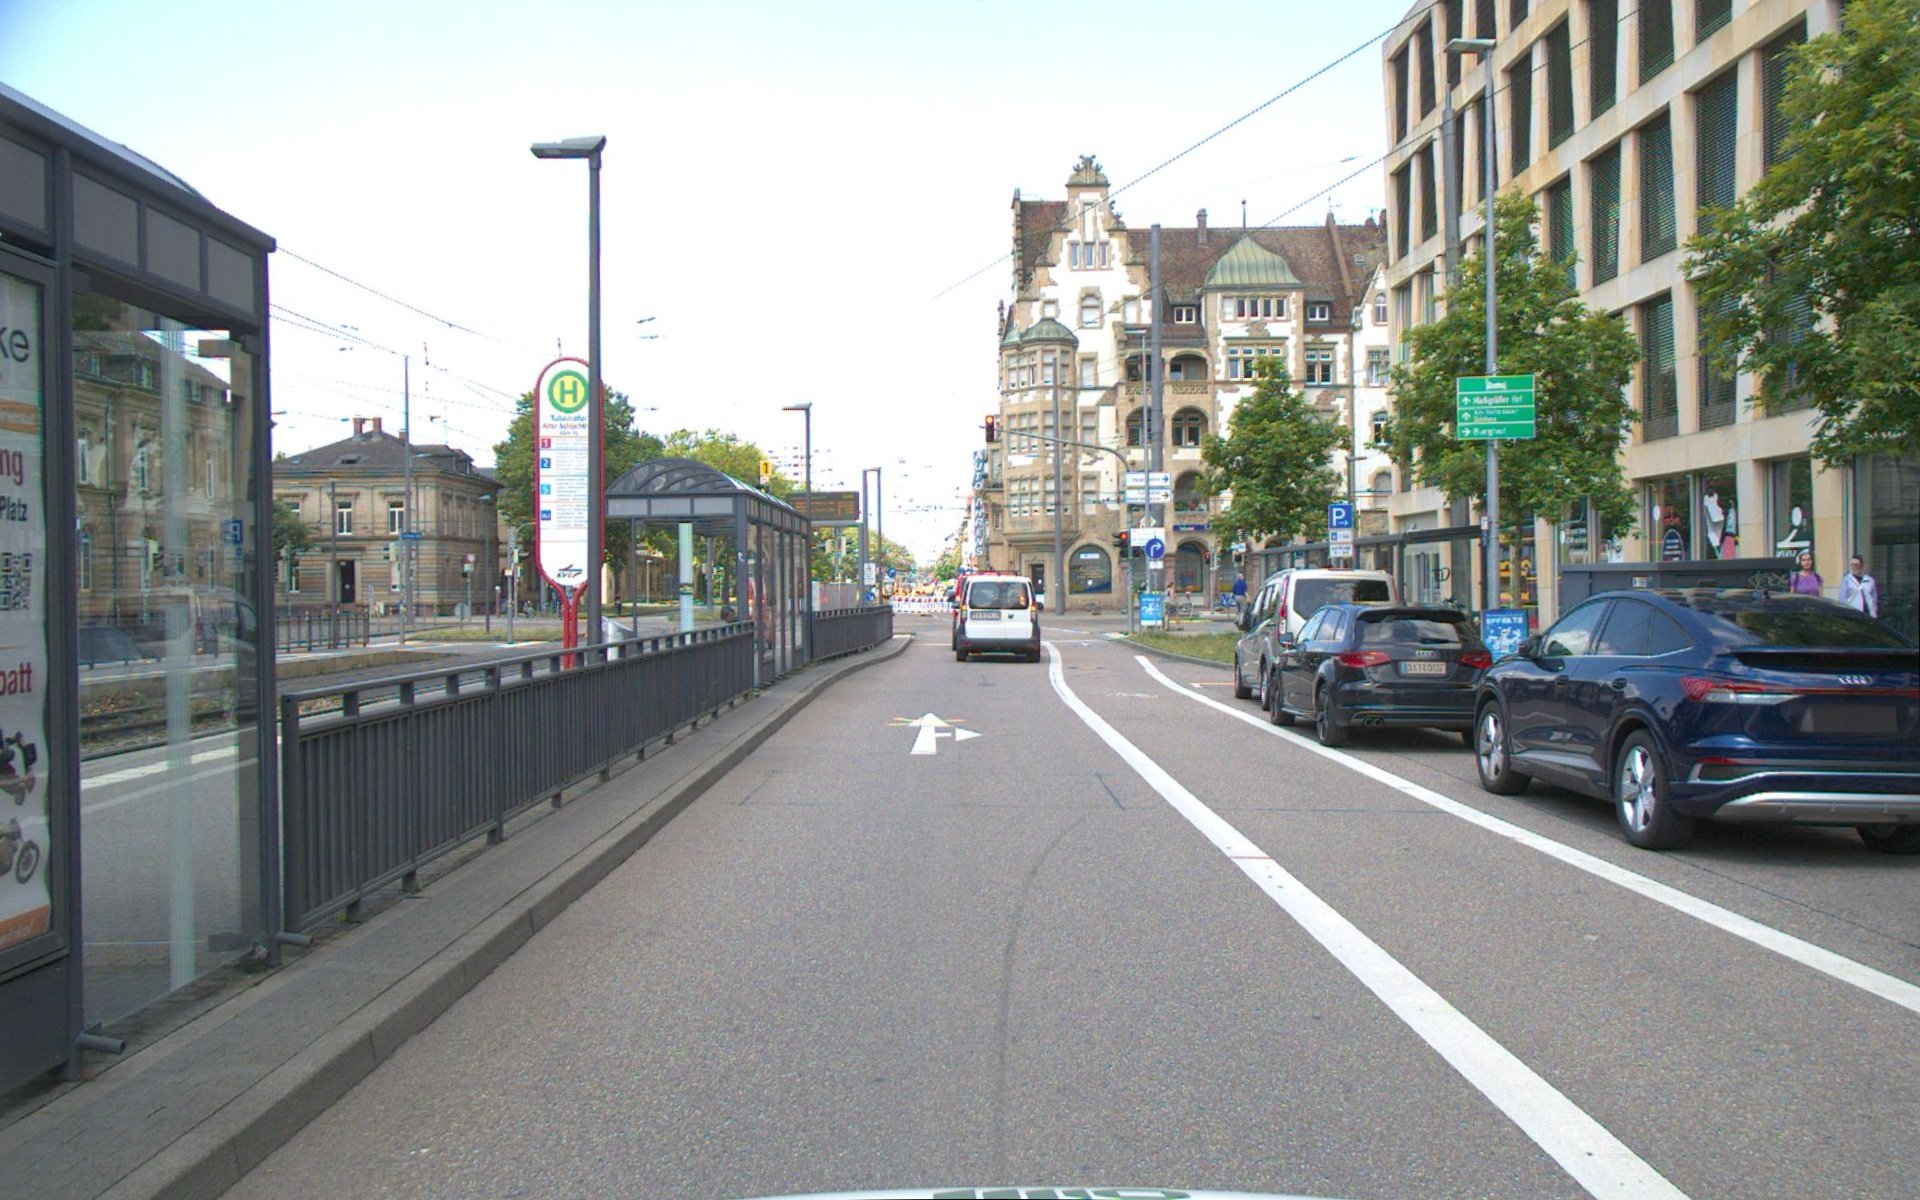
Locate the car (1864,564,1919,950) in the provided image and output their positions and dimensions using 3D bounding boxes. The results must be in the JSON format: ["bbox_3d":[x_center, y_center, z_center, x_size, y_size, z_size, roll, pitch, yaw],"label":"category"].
[{"bbox_3d":[4.993,0.694,4.953,1.770,1.619,4.839,1,1,-2],"label":"car"}]

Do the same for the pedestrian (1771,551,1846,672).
[{"bbox_3d":[12.550,0.167,24.469,0.744,1.754,0.659,-1,0,-1],"label":"pedestrian"}]

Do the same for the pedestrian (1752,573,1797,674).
[{"bbox_3d":[11.968,0.339,24.307,0.430,1.474,0.434,-1,0,-1],"label":"pedestrian"}]

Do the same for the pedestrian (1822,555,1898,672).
[{"bbox_3d":[13.323,0.195,24.498,0.744,1.699,0.659,-1,0,-1],"label":"pedestrian"}]

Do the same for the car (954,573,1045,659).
[{"bbox_3d":[0.812,0.324,36.252,1.831,1.777,3.999,0,0,-1],"label":"car"}]

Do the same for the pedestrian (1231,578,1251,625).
[{"bbox_3d":[9.665,0.049,56.912,0.523,1.599,0.542,-2,0,-2],"label":"pedestrian"}]

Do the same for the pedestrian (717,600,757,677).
[{"bbox_3d":[-3.460,0.595,25.701,0.503,1.160,0.501,-2,0,0],"label":"pedestrian"}]

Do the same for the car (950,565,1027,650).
[{"bbox_3d":[0.682,0.173,42.453,1.831,2.055,3.999,0,0,-1],"label":"car"}]

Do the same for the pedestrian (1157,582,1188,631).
[{"bbox_3d":[7.063,0.209,55.014,0.793,1.599,0.626,-3,0,-17],"label":"pedestrian"}]

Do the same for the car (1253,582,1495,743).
[{"bbox_3d":[4.286,0.574,17.706,1.414,1.495,4.091,1,1,-2],"label":"car"}]

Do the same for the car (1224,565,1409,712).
[{"bbox_3d":[4.781,0.473,22.603,1.675,1.828,3.360,1,1,-2],"label":"car"}]

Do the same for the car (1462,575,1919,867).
[{"bbox_3d":[5.058,0.660,11.422,1.770,1.619,4.304,1,1,-1],"label":"car"}]
